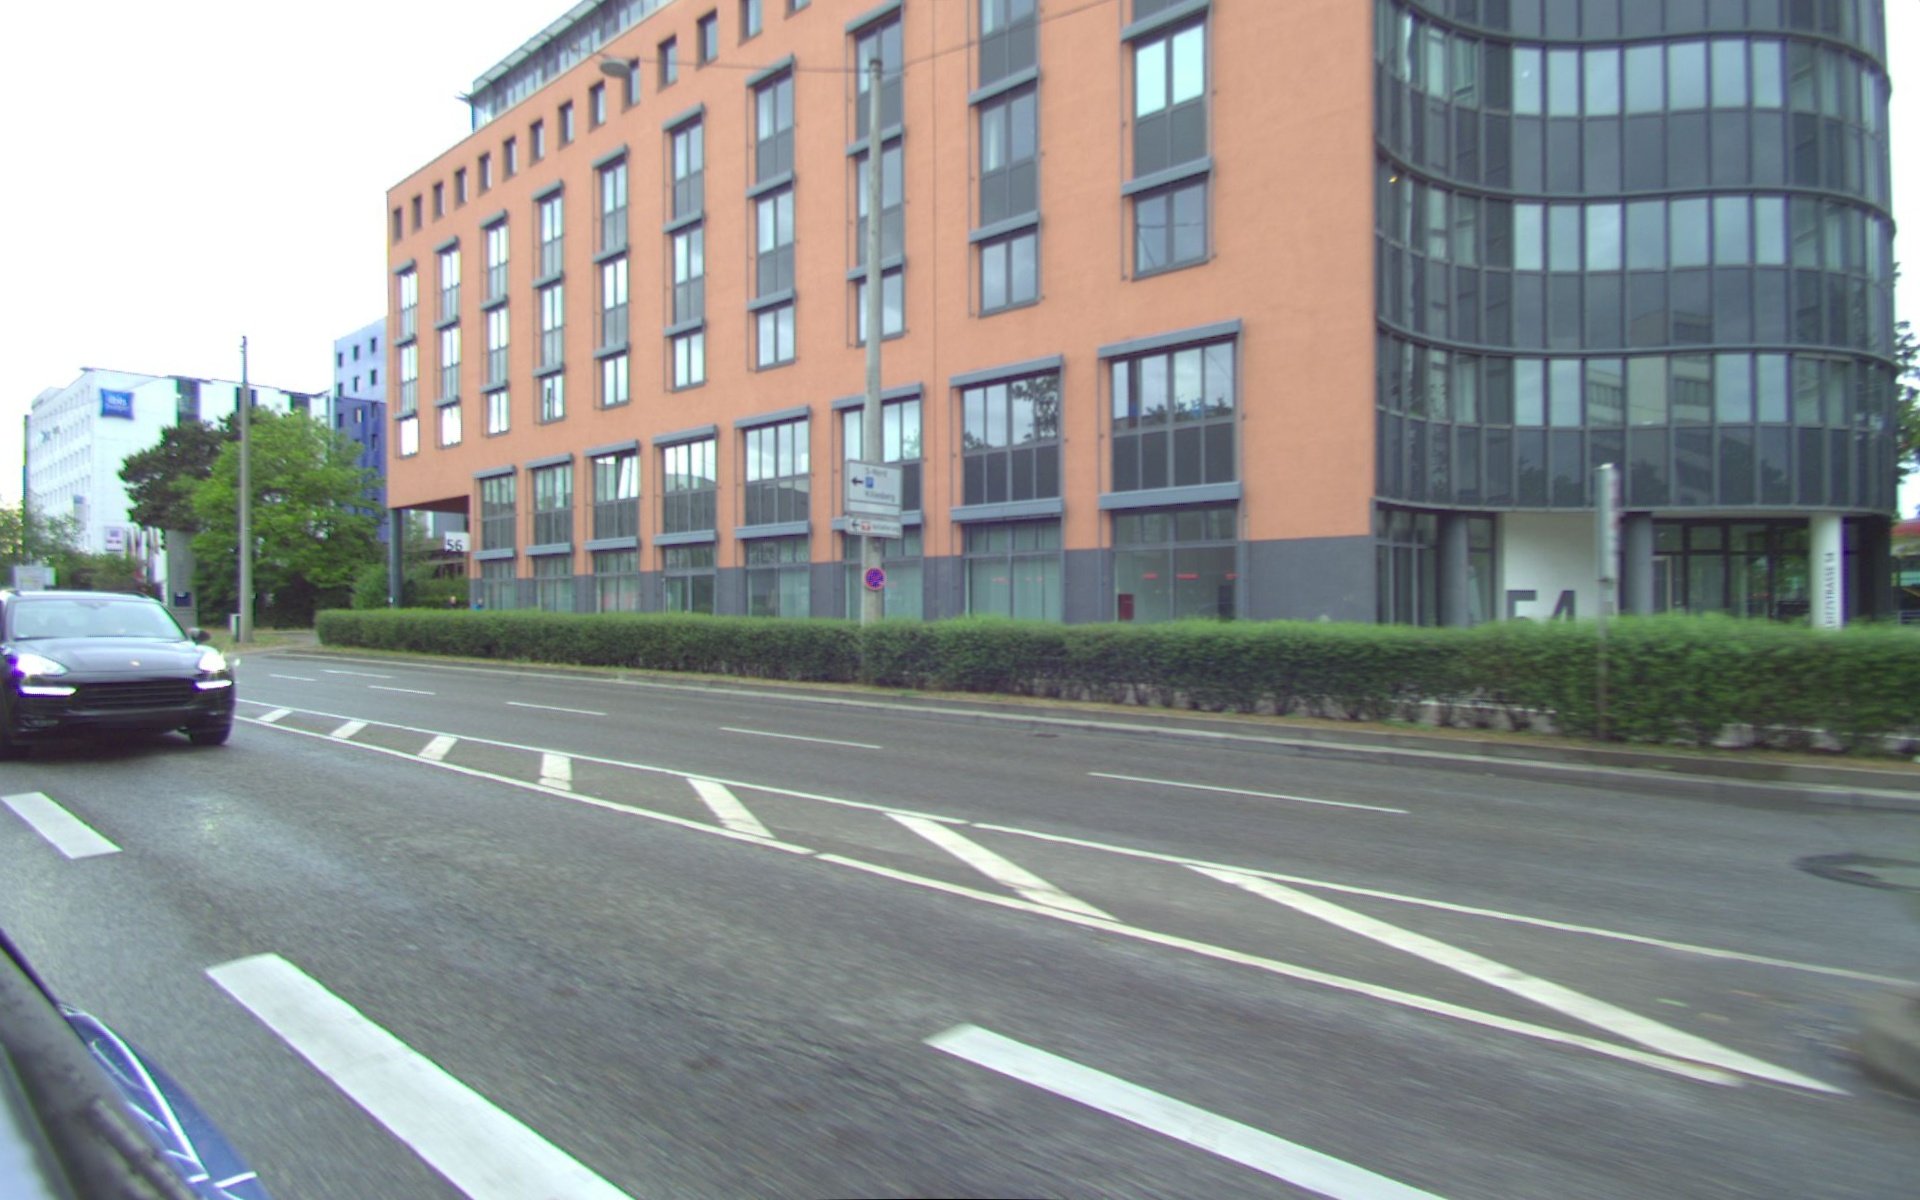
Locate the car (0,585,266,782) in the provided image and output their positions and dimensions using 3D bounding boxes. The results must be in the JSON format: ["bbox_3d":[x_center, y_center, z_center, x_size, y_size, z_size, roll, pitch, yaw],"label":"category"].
[{"bbox_3d":[-9.669,0.746,11.120,5.420,1.679,1.973,-1,-1,40],"label":"car"}]

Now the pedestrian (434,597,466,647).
[{"bbox_3d":[-19.125,0.818,37.966,0.885,1.855,0.738,-1,0,39],"label":"pedestrian"}]

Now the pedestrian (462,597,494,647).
[{"bbox_3d":[-18.292,0.812,38.405,0.885,1.855,0.738,-1,0,39],"label":"pedestrian"}]
